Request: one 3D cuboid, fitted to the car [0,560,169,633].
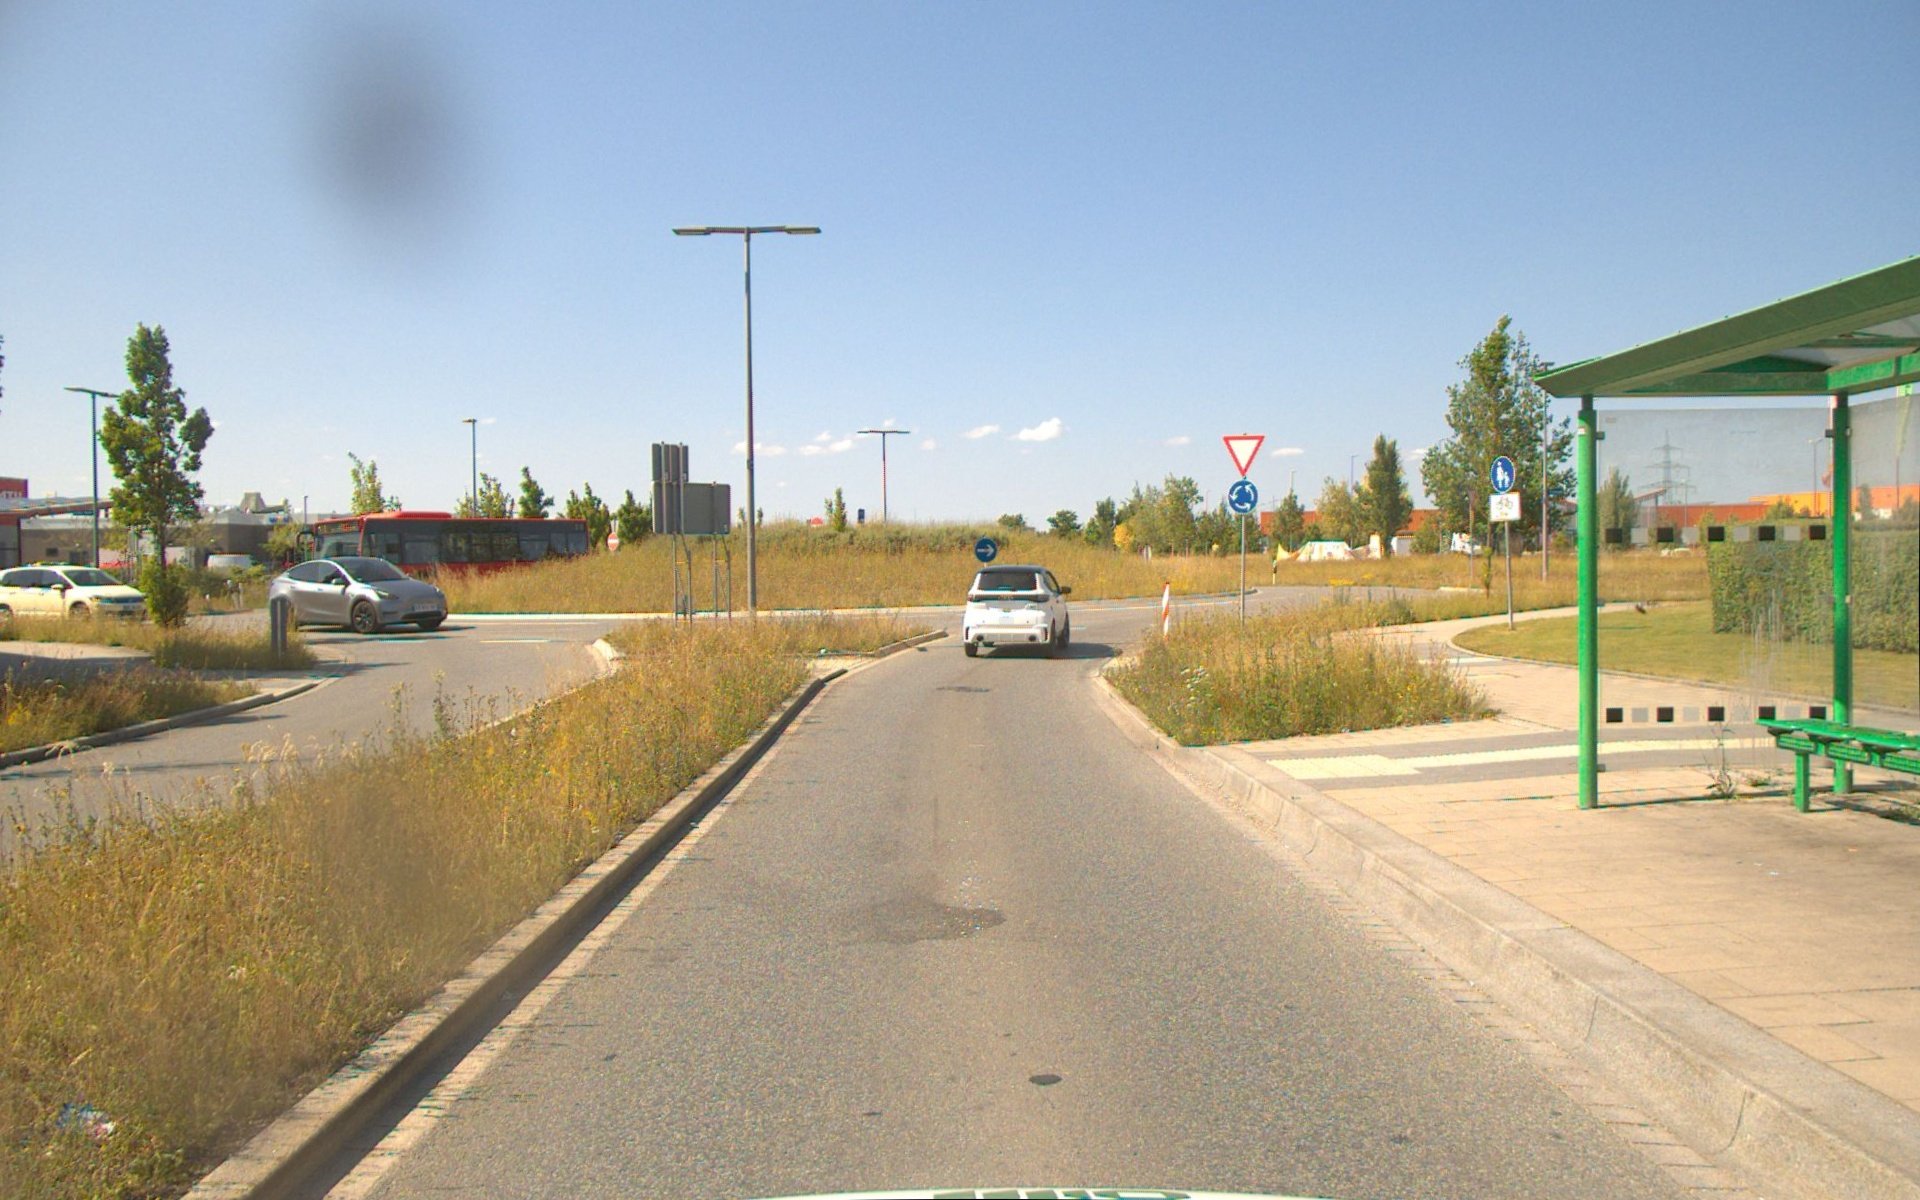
[{"bbox_3d":[-23.326,-0.083,43.538,4.480,1.694,1.848,-2,2,20],"label":"car"}]

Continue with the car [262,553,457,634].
[{"bbox_3d":[-13.464,-0.199,37.004,4.534,1.654,1.956,1,3,37],"label":"car"}]

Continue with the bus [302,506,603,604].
[{"bbox_3d":[-17.988,-1.773,60.051,2.732,3.132,12.195,-1,3,26],"label":"bus"}]

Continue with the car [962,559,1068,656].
[{"bbox_3d":[1.011,0.071,28.594,1.582,1.459,3.796,-1,3,5],"label":"car"}]
